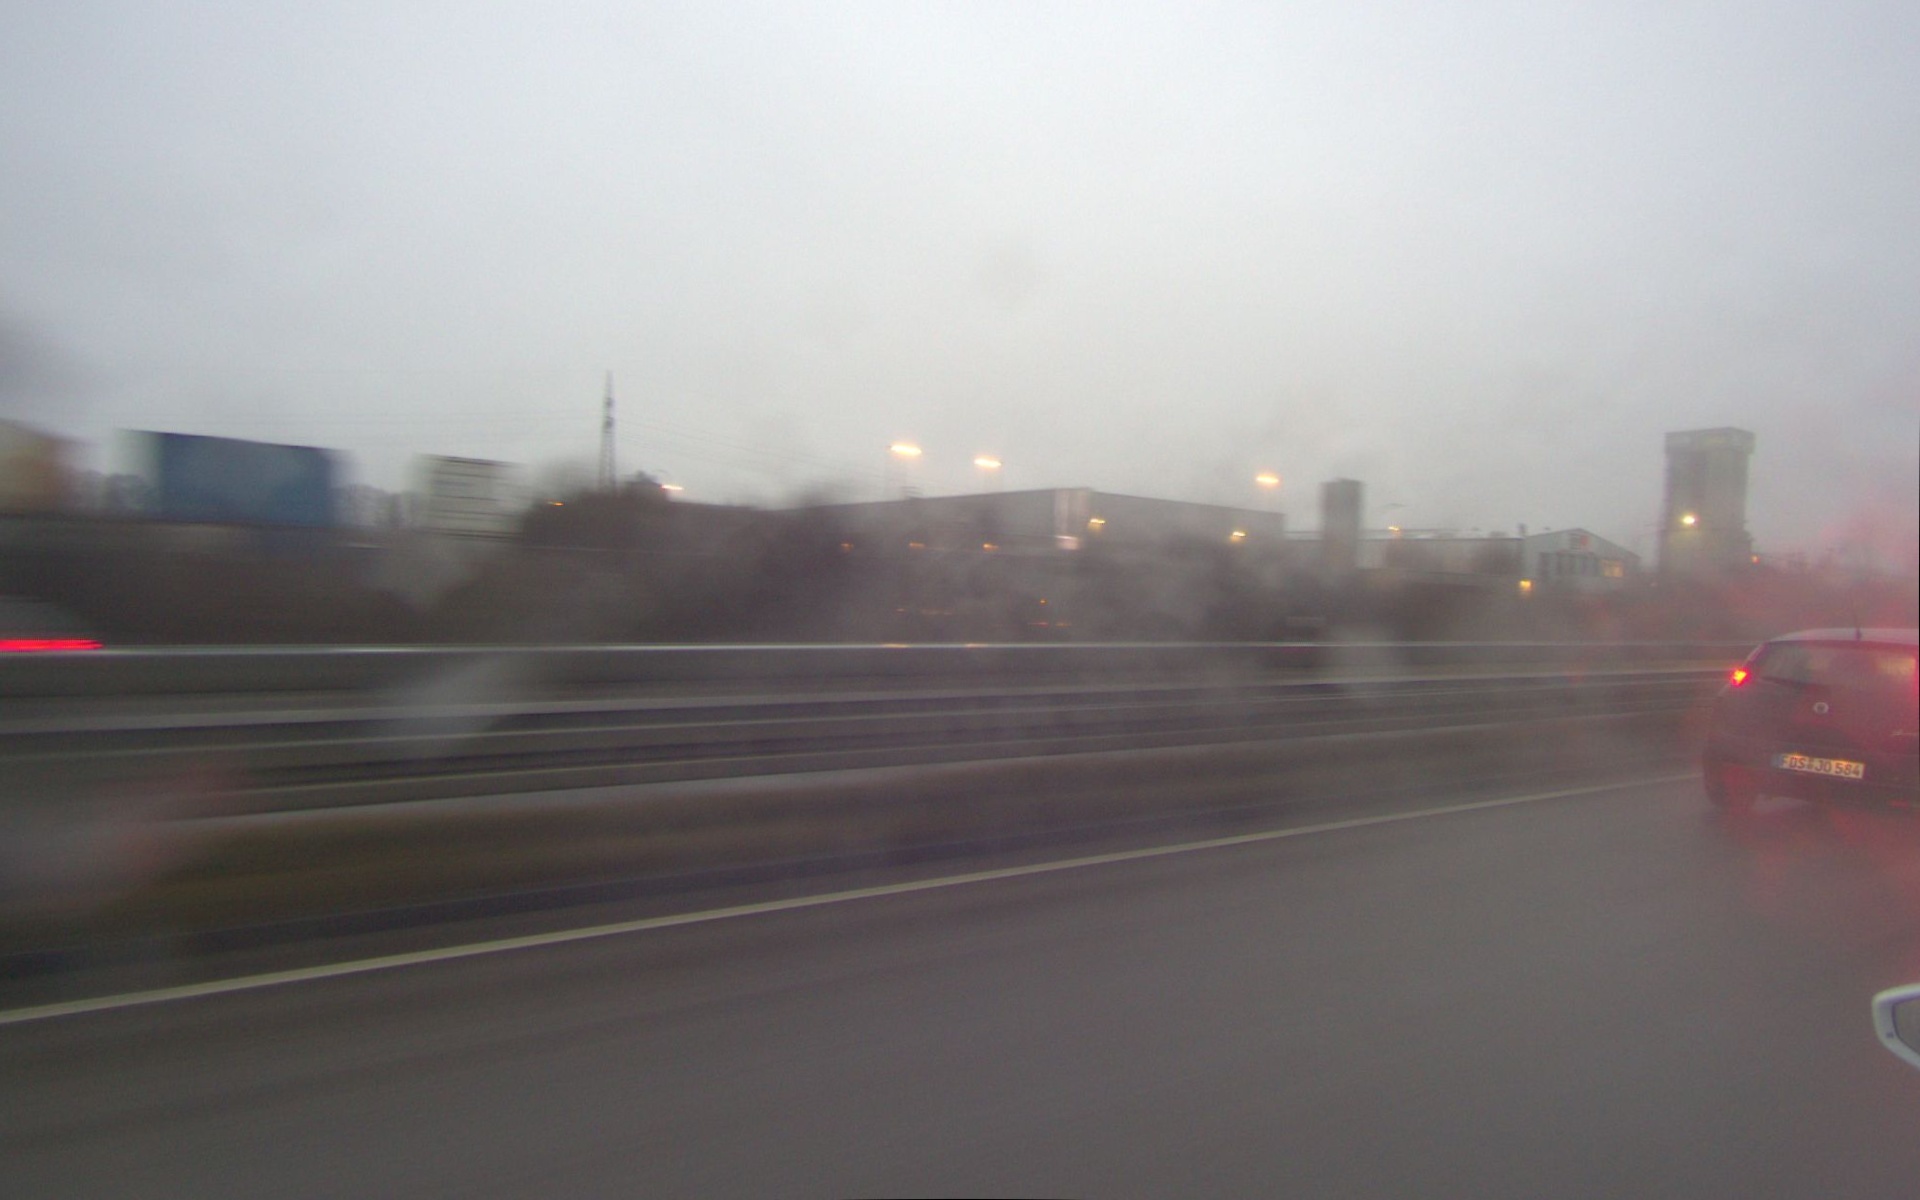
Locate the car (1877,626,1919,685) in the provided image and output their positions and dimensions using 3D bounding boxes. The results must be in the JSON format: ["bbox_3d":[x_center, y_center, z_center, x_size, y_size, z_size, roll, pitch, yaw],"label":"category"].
[{"bbox_3d":[29.243,1.653,29.962,3.953,1.662,1.732,1,-1,-30],"label":"car"}]

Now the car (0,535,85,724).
[{"bbox_3d":[-10.416,0.226,8.720,3.953,1.662,1.732,1,-1,-30],"label":"car"}]

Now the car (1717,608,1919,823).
[{"bbox_3d":[8.049,0.857,8.190,3.955,1.410,1.617,2,1,-32],"label":"car"}]
